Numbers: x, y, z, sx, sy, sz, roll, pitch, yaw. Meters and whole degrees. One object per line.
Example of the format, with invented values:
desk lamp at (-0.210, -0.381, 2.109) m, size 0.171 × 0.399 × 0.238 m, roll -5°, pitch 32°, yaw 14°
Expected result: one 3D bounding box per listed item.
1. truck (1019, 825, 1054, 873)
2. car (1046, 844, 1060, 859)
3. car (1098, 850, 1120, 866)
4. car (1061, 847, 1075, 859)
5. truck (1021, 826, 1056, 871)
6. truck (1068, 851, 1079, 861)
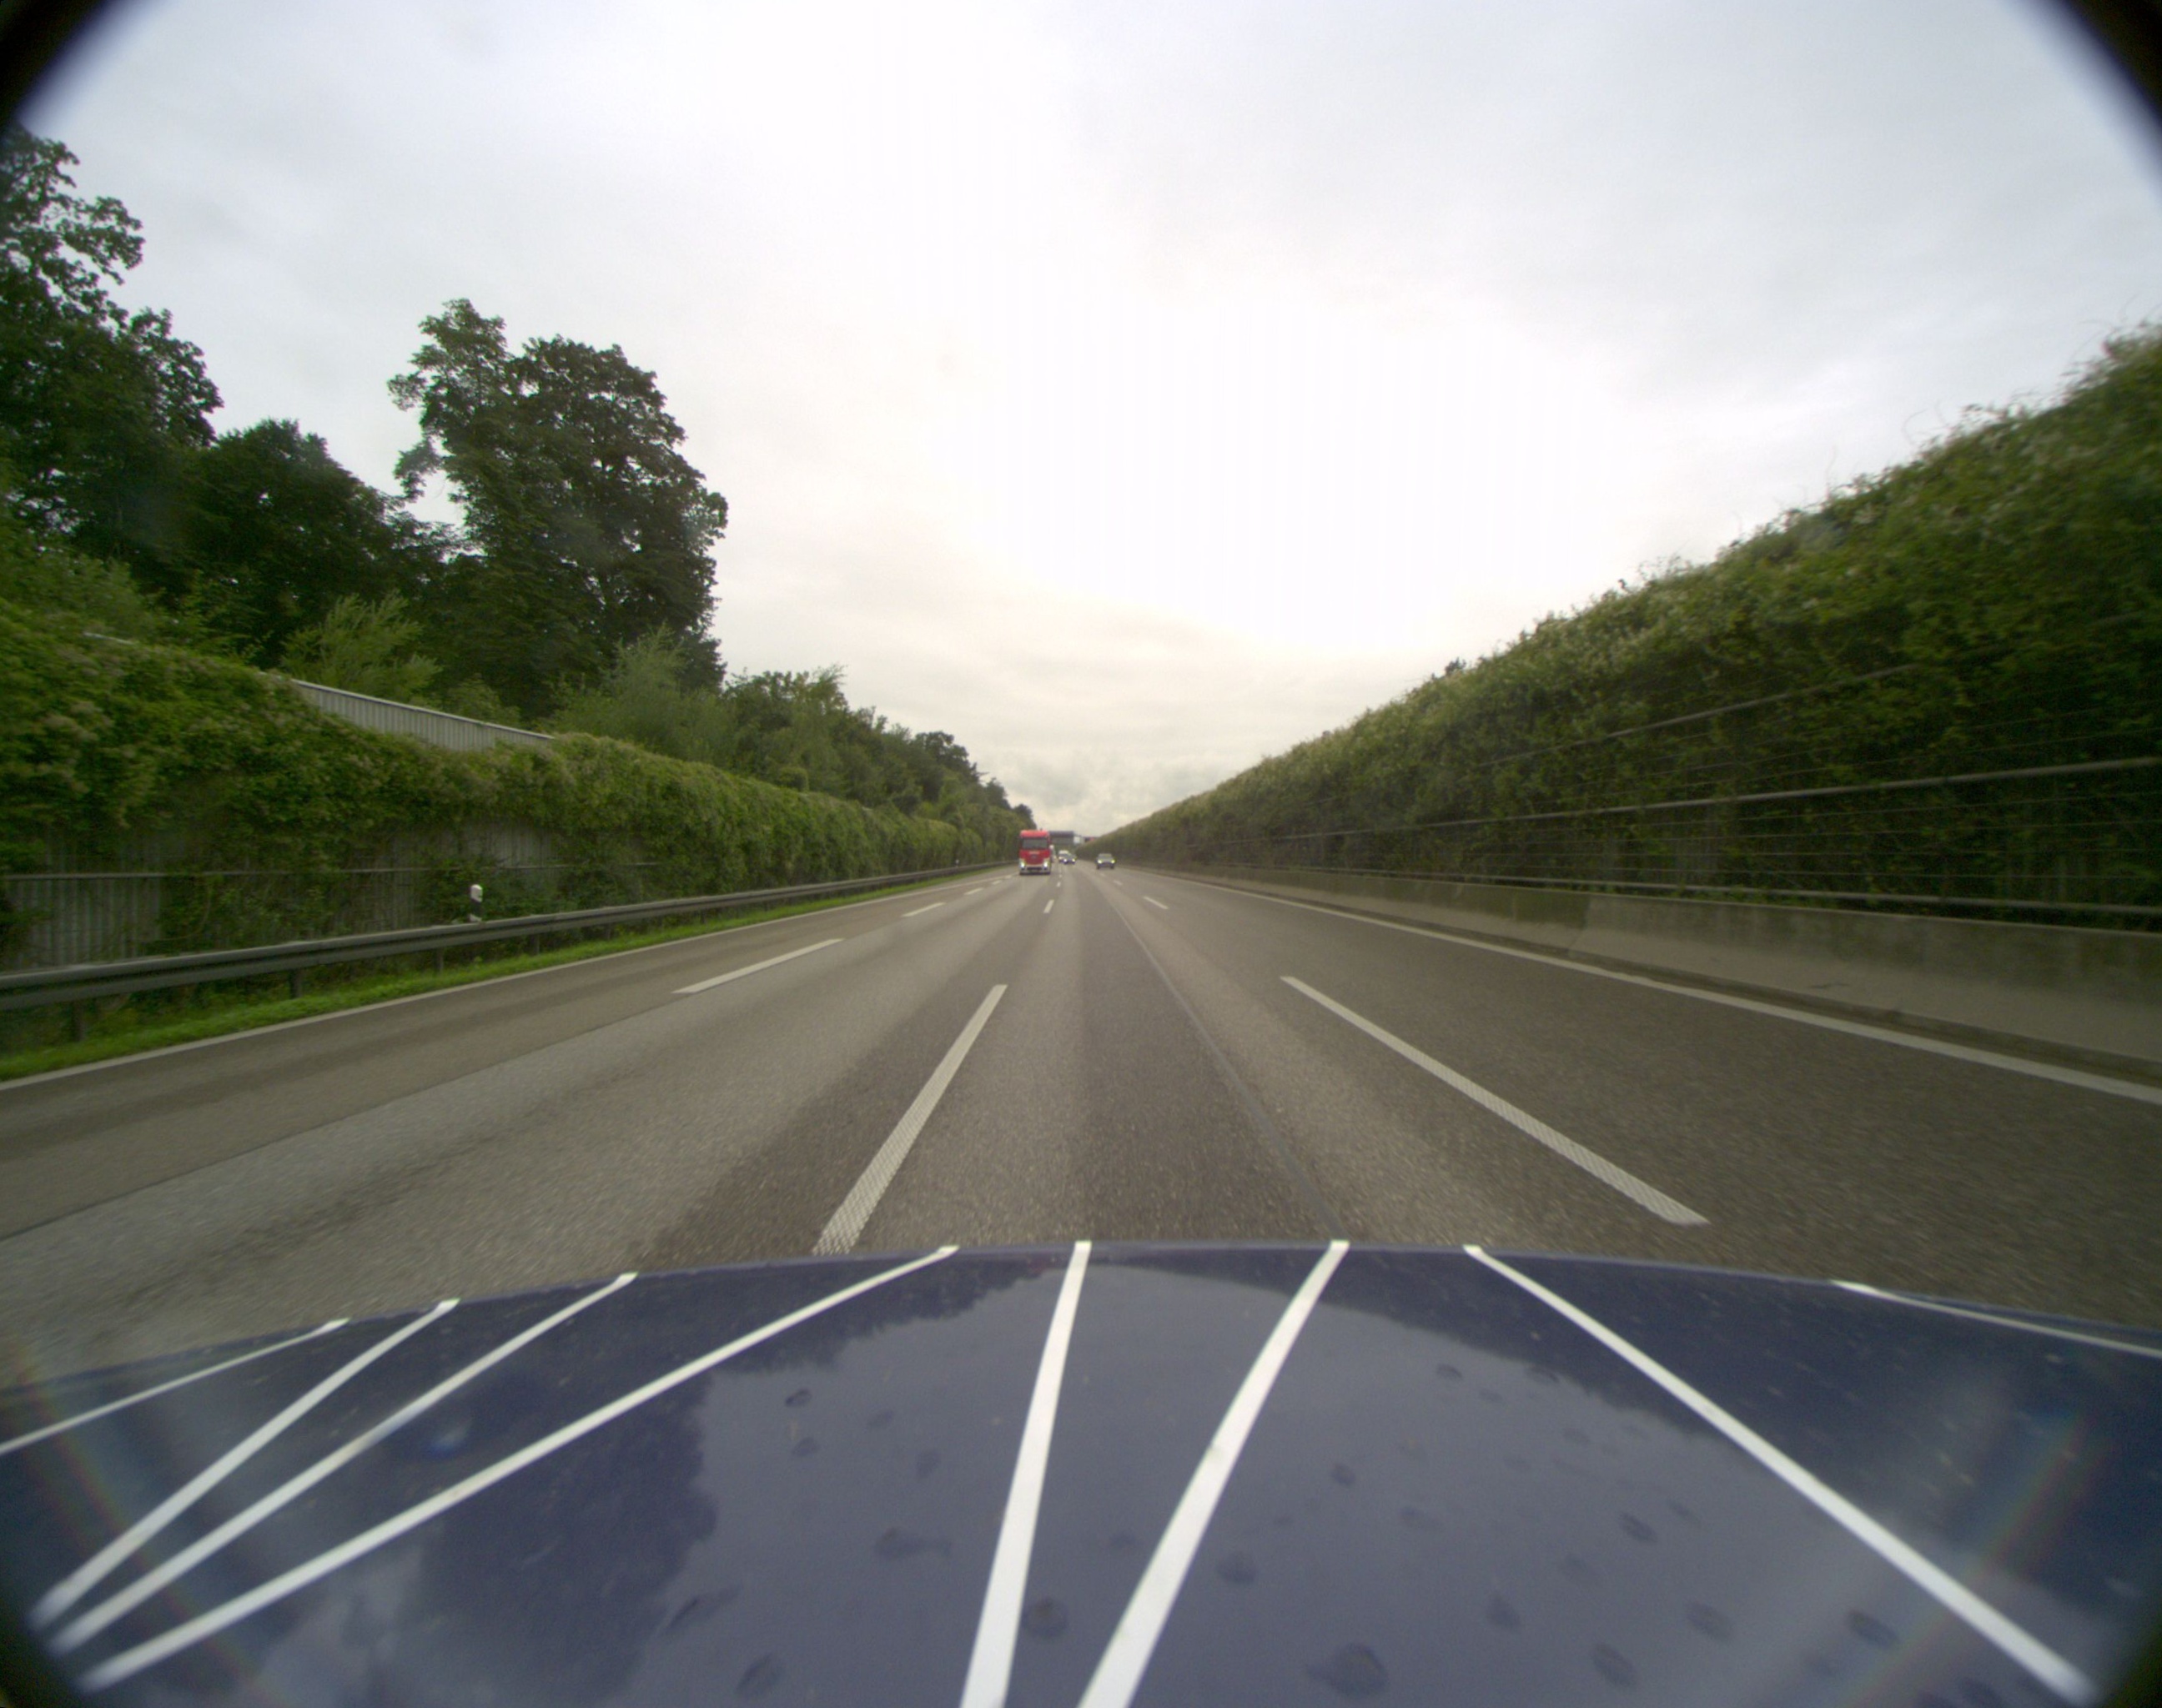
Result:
truck at (-3.692, -0.450, 63.694) m, size 2.709 × 3.809 × 4.197 m, roll -1°, pitch 2°, yaw -1°
car at (-6.091, -0.569, 167.161) m, size 3.040 × 3.278 × 6.731 m, roll -1°, pitch 1°, yaw -2°
car at (3.041, 0.399, 83.703) m, size 2.023 × 1.595 × 5.437 m, roll -3°, pitch 1°, yaw -2°
car at (-2.687, -0.283, 154.816) m, size 2.769 × 2.227 × 6.544 m, roll -1°, pitch 1°, yaw -2°
truck at (-3.742, -0.572, 68.544) m, size 2.709 × 3.691 × 9.837 m, roll -1°, pitch 2°, yaw -1°
truck at (-1.332, 0.388, 130.598) m, size 1.825 × 1.535 × 3.998 m, roll -2°, pitch 2°, yaw 0°
